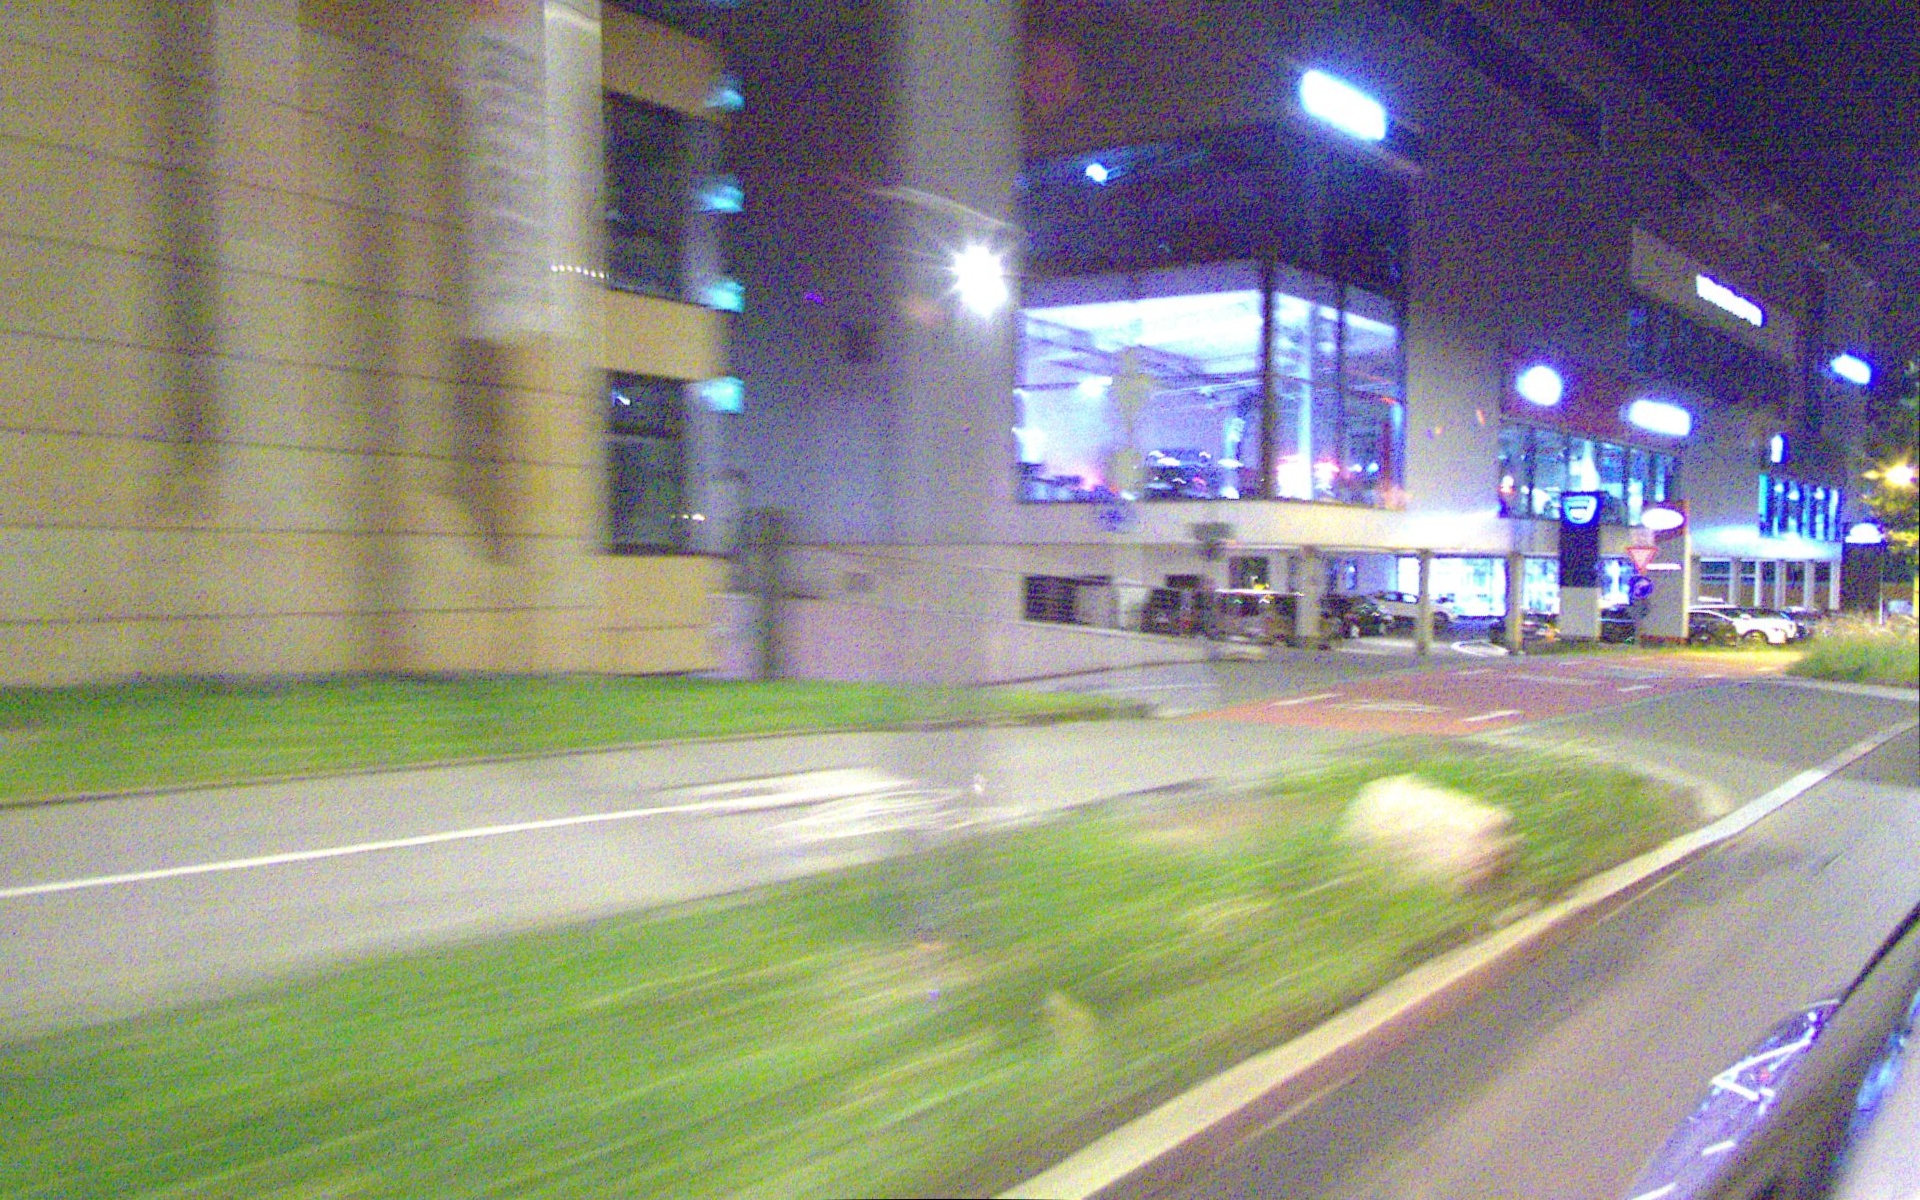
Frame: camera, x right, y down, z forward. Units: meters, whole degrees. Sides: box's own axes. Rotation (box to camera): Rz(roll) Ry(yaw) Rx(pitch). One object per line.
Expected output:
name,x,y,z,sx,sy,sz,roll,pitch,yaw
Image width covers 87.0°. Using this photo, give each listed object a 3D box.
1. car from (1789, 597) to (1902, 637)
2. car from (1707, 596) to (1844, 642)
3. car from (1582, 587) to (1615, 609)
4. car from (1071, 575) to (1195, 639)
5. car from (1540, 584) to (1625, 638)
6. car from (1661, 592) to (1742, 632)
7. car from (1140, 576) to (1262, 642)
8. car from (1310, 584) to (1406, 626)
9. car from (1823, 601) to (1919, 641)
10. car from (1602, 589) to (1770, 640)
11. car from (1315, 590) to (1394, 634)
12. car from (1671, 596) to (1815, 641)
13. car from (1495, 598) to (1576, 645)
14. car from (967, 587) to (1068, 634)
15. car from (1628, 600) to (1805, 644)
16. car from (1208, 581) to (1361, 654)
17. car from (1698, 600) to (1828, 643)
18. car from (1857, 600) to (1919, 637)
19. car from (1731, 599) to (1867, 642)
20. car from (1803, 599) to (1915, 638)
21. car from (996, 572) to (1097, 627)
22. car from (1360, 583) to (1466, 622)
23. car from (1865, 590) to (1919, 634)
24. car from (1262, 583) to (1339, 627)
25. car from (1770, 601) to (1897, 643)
car,40.610,0.759,46.526,3.766,1.395,1.691,8,4,40
car,32.089,0.710,39.986,3.975,1.488,1.810,5,2,34
car,50.605,-0.179,80.275,1.984,1.682,4.617,2,1,30
car,5.946,0.227,34.500,4.335,2.019,1.953,1,0,-44
car,24.351,0.380,39.740,1.564,1.817,3.858,1,3,12
car,38.589,0.571,52.821,1.810,1.942,4.803,1,0,16
car,7.913,0.278,33.013,4.336,2.019,1.813,1,0,-44
car,17.428,0.186,44.424,1.716,1.604,3.491,-1,4,-36
car,46.821,1.073,51.289,4.465,1.565,1.742,9,6,44
car,22.426,0.424,31.340,4.116,1.438,1.850,1,0,40
car,15.824,0.457,40.537,3.359,1.531,1.635,-2,4,-43
car,28.155,0.650,36.571,3.976,1.442,1.884,2,0,36
car,21.076,0.736,37.253,1.755,1.426,4.314,2,2,19
car,2.098,0.350,37.582,1.589,1.467,3.729,-1,3,-41
car,25.988,0.734,35.004,4.603,1.280,1.927,2,0,29
car,10.040,0.499,31.026,5.532,2.039,1.996,1,0,-43
car,30.196,0.790,38.190,3.583,1.451,1.662,2,0,30
car,51.708,1.102,54.842,4.463,1.707,1.969,9,5,43
car,34.346,0.822,41.564,3.970,1.409,1.806,4,1,32
car,42.517,0.860,47.984,3.799,1.470,1.693,6,3,40
car,3.405,-0.042,40.082,3.705,2.039,1.720,2,0,44
car,20.999,0.094,47.087,4.262,1.675,1.649,1,0,17
car,64.173,1.006,66.889,6.008,2.559,2.253,9,4,37
car,14.220,0.173,42.235,3.245,1.661,1.636,-1,5,-43
car,38.682,0.947,44.958,4.017,1.390,1.801,7,4,38
